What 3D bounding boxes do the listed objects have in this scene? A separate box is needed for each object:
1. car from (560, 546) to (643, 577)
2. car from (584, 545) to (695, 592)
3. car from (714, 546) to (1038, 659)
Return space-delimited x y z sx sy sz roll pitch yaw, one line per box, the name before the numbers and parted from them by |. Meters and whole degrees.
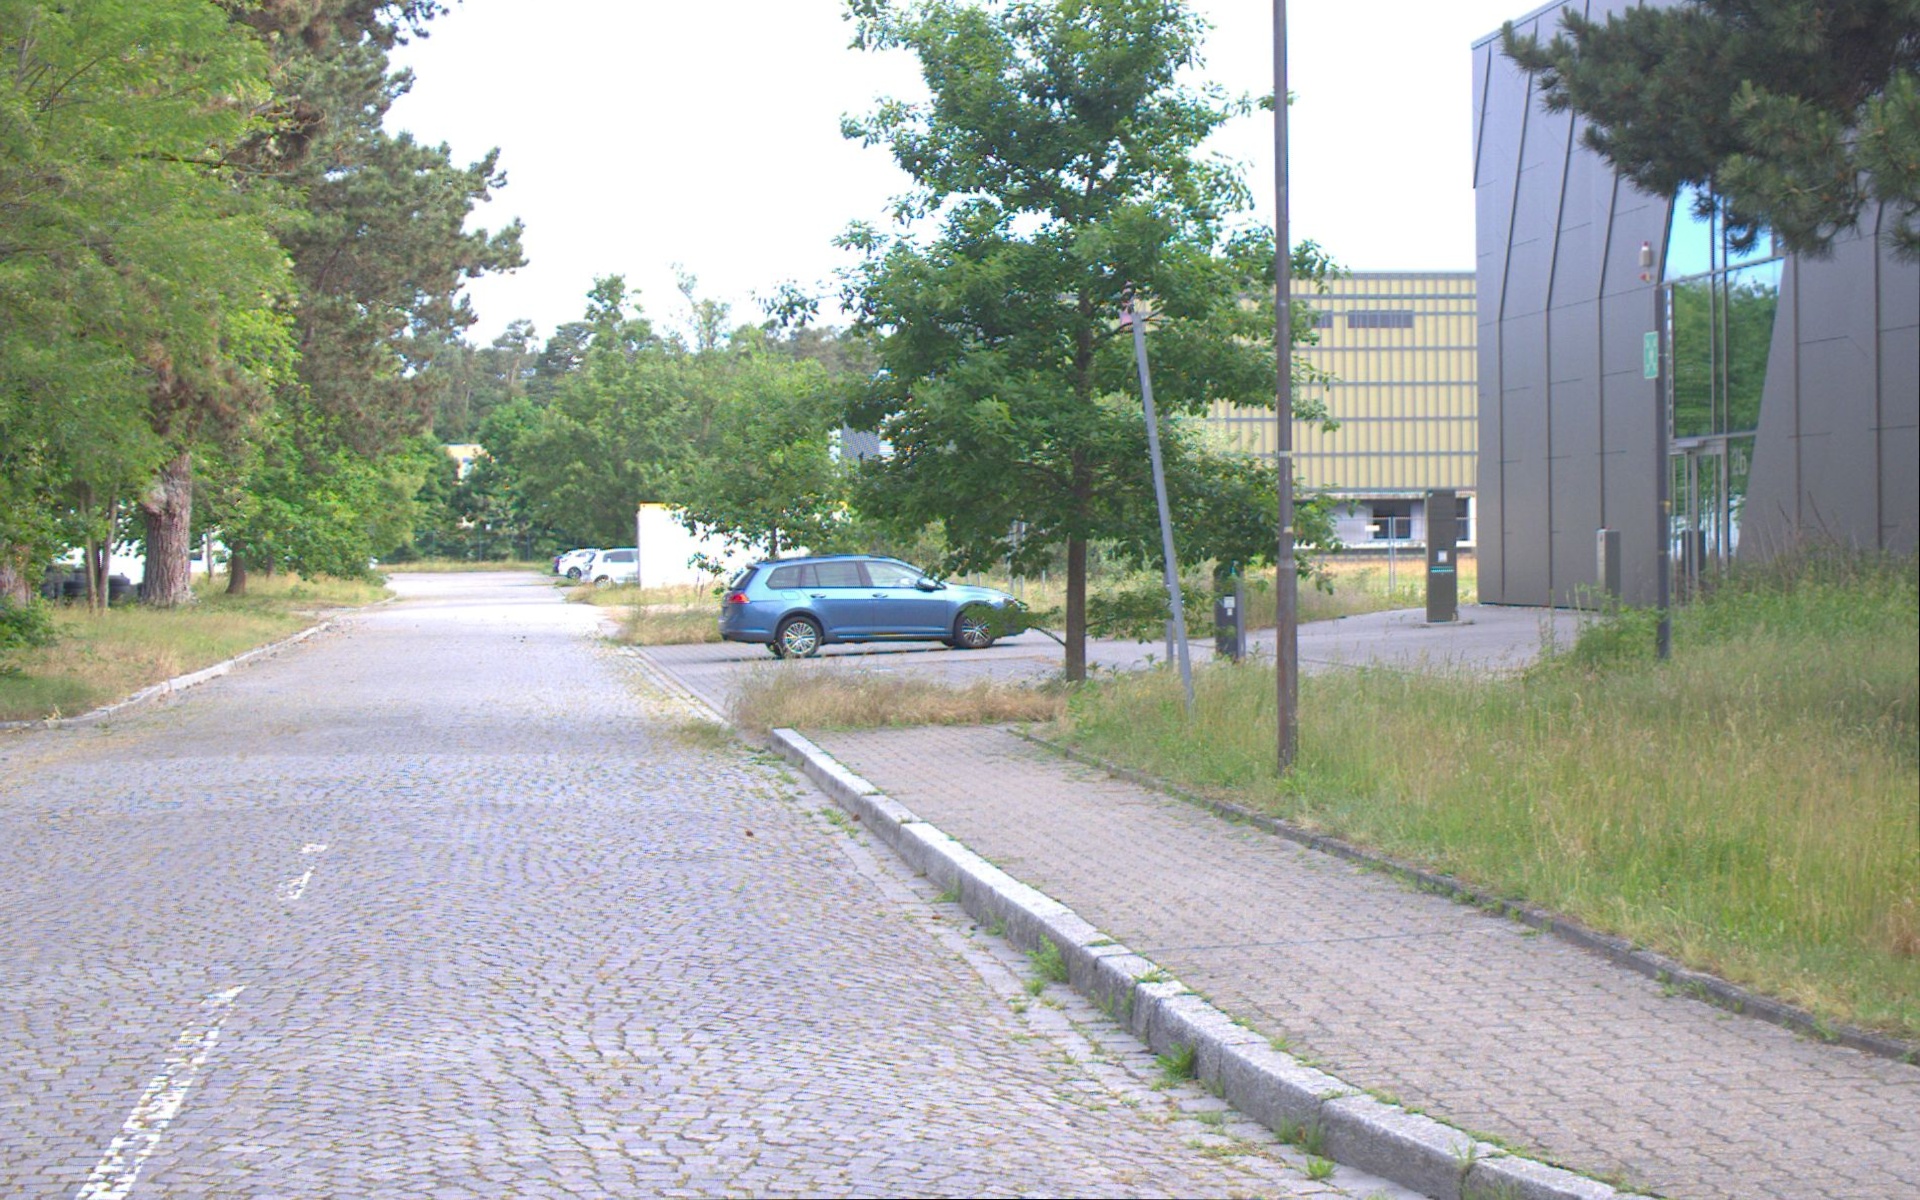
car | -17.700 -1.912 169.679 4.024 1.496 1.548 -1 1 -6
car | -11.565 -1.130 123.928 3.848 1.649 1.687 -1 1 -10
car | -1.267 0.017 51.086 4.521 1.438 1.824 -3 1 -11
